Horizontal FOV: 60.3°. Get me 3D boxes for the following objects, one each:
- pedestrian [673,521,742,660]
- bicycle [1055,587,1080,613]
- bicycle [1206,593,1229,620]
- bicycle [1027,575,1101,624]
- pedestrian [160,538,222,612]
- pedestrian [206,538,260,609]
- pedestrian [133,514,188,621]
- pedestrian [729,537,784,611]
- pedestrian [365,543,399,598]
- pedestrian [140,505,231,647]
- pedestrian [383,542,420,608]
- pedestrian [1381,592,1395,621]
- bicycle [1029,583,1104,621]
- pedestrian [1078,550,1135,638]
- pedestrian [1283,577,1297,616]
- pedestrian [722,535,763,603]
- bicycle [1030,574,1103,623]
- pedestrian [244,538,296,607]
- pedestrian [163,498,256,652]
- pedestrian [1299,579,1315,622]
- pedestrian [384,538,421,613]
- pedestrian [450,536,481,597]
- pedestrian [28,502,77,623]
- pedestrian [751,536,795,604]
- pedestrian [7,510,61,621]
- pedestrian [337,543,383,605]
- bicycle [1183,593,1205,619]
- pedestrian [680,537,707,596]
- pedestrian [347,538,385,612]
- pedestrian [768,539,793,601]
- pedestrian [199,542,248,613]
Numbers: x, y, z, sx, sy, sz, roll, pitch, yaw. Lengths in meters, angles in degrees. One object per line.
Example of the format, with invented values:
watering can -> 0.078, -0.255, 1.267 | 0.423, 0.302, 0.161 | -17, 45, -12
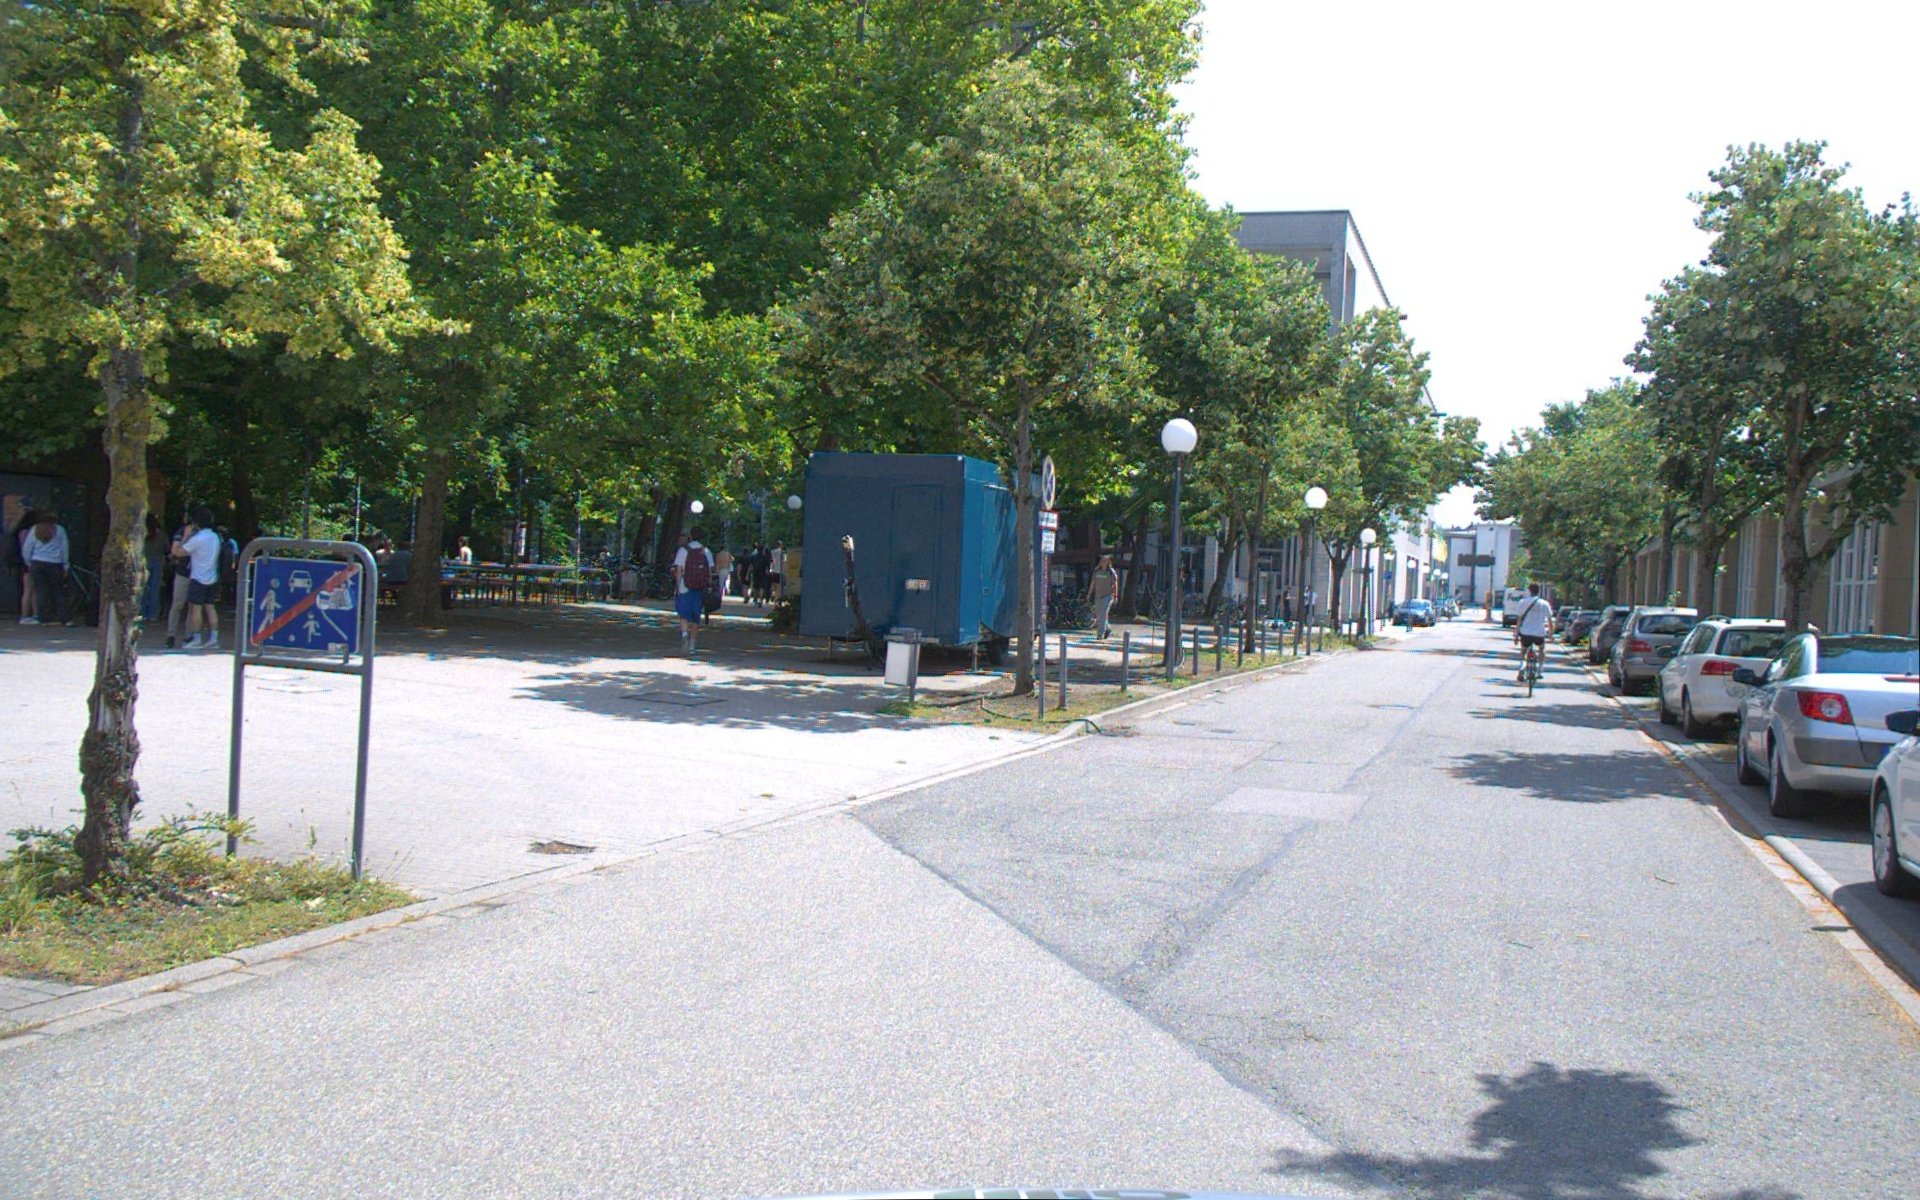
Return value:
pedestrian -> -3.562, -0.143, 23.322 | 0.836, 1.867, 0.876 | 3, 3, -12
bicycle -> 4.811, 0.006, 73.690 | 0.540, 1.105, 1.974 | 5, 1, 19
bicycle -> 11.147, 0.294, 71.580 | 0.540, 1.105, 1.974 | 5, 1, 19
bicycle -> 2.961, -0.007, 47.288 | 2.011, 1.256, 0.809 | 4, 1, 1
pedestrian -> -14.550, -0.470, 31.311 | 0.673, 1.346, 0.778 | 3, 1, 20
pedestrian -> -13.626, -0.490, 30.990 | 0.548, 1.293, 0.693 | 4, 1, 20
pedestrian -> -12.936, -0.529, 26.768 | 0.666, 1.679, 0.500 | 3, 2, -20
pedestrian -> -5.722, -0.729, 46.508 | 1.111, 1.981, 0.882 | 4, 1, -34
pedestrian -> -13.114, -0.668, 37.530 | 0.382, 1.215, 0.731 | 3, 1, 10
pedestrian -> -9.910, -0.295, 21.174 | 0.873, 1.750, 0.482 | 4, -2, -43
pedestrian -> -11.095, -0.500, 32.858 | 0.583, 1.254, 0.740 | 3, 3, -15
pedestrian -> 26.430, 0.380, 102.214 | 0.636, 1.731, 0.890 | 3, 1, 8
bicycle -> 3.208, 0.050, 49.906 | 2.108, 1.026, 0.676 | 3, 1, -11
pedestrian -> 3.465, -0.127, 39.076 | 0.901, 1.988, 0.890 | 5, 1, 29
pedestrian -> 15.713, -0.155, 78.674 | 0.433, 1.806, 0.450 | 3, 1, -11
pedestrian -> -6.596, -0.938, 50.135 | 0.813, 1.981, 0.843 | 4, 1, -33
bicycle -> 3.099, -0.041, 48.328 | 2.012, 1.255, 0.809 | 5, 1, 1
pedestrian -> -13.300, -0.527, 31.908 | 0.548, 1.293, 0.693 | 4, 1, 20
pedestrian -> -9.347, -0.300, 20.605 | 0.873, 1.852, 0.442 | 4, -2, -44
pedestrian -> 16.219, 0.020, 77.338 | 0.405, 1.975, 0.662 | 3, 1, -10
pedestrian -> -10.828, -0.489, 32.144 | 0.583, 1.392, 0.740 | 3, 3, -15
pedestrian -> -12.053, -0.805, 40.298 | 0.494, 1.447, 0.461 | 3, 1, 9
pedestrian -> -13.386, -0.549, 24.400 | 0.522, 1.740, 0.445 | 3, 2, -25
pedestrian -> -5.736, -0.907, 50.638 | 0.909, 1.981, 0.882 | 4, 1, -34
pedestrian -> -13.840, -0.518, 24.732 | 0.596, 1.620, 0.410 | 3, 2, -23
pedestrian -> -12.684, -0.552, 34.993 | 0.556, 1.272, 0.768 | 3, 1, 7
bicycle -> 10.214, 0.257, 72.223 | 0.540, 1.105, 1.974 | 5, 1, 19
pedestrian -> -7.870, -0.982, 48.865 | 0.617, 1.699, 0.730 | 3, 1, -2
pedestrian -> -11.617, -0.492, 32.336 | 0.583, 1.392, 0.701 | 3, 3, -15
pedestrian -> -5.739, -0.961, 52.892 | 0.581, 1.937, 0.513 | 2, 1, -27
pedestrian -> -14.387, -0.442, 32.315 | 0.631, 1.346, 0.559 | 3, 1, 20
